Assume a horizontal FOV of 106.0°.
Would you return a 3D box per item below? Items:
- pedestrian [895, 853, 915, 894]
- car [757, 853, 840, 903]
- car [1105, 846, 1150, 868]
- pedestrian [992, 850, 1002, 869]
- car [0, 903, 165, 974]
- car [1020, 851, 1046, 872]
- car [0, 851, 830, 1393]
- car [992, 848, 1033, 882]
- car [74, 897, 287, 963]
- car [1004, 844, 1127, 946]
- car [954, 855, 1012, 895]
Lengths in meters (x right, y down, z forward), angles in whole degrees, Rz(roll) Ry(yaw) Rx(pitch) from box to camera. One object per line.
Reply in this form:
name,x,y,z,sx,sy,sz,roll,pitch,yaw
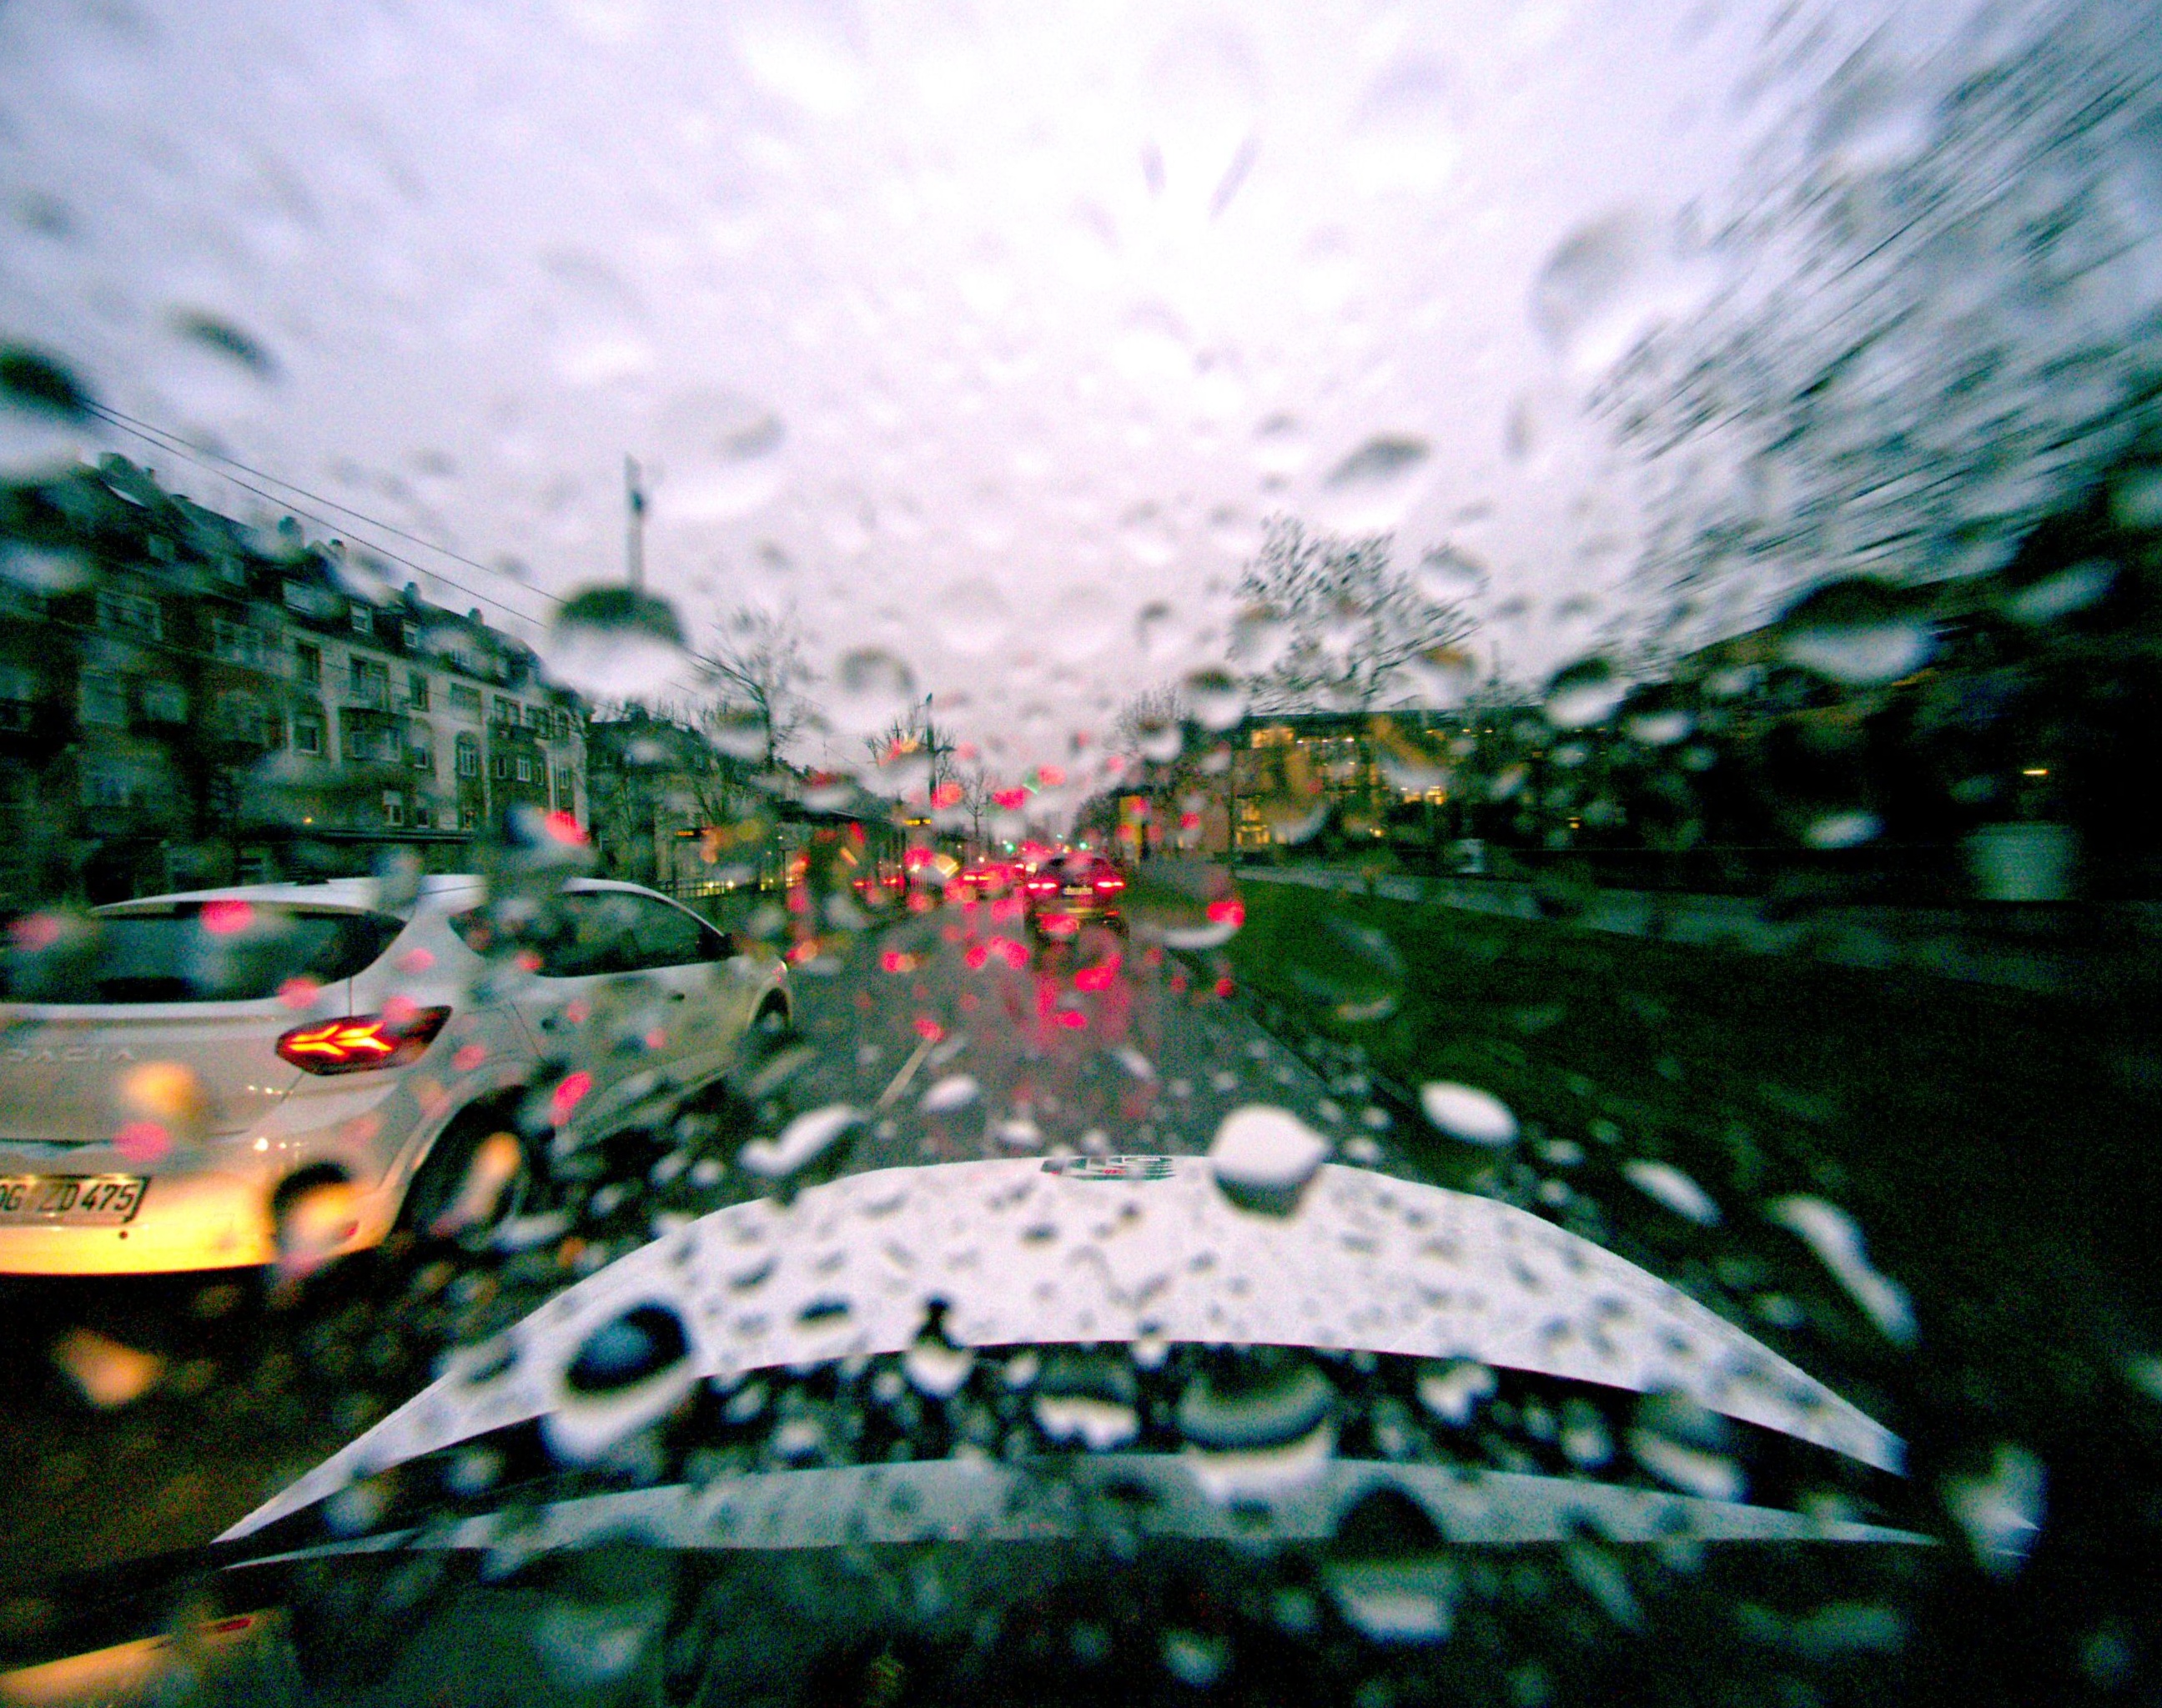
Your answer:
pedestrian,-7.033,0.773,32.514,0.710,1.606,0.744,-2,-1,-10
car,-11.543,0.919,33.547,1.988,1.823,3.997,-4,0,-2
car,4.228,0.270,73.685,3.848,1.560,1.765,-5,0,-1
pedestrian,-7.281,0.490,70.621,0.697,1.552,0.668,-3,0,-2
car,-22.390,1.820,17.622,1.533,1.208,3.191,-3,0,-2
car,-3.928,0.619,67.816,1.989,1.618,3.997,-3,0,-2
car,-2.922,0.795,4.373,1.619,1.487,4.004,-3,1,3
car,-3.825,0.593,46.211,1.988,1.765,3.997,-3,0,-2
car,-25.592,2.093,23.383,1.655,1.396,3.998,-3,0,-1
car,-0.291,0.680,15.721,1.985,1.616,3.998,-3,0,-1
car,-3.948,0.802,33.443,1.989,1.398,3.997,-3,0,-2
